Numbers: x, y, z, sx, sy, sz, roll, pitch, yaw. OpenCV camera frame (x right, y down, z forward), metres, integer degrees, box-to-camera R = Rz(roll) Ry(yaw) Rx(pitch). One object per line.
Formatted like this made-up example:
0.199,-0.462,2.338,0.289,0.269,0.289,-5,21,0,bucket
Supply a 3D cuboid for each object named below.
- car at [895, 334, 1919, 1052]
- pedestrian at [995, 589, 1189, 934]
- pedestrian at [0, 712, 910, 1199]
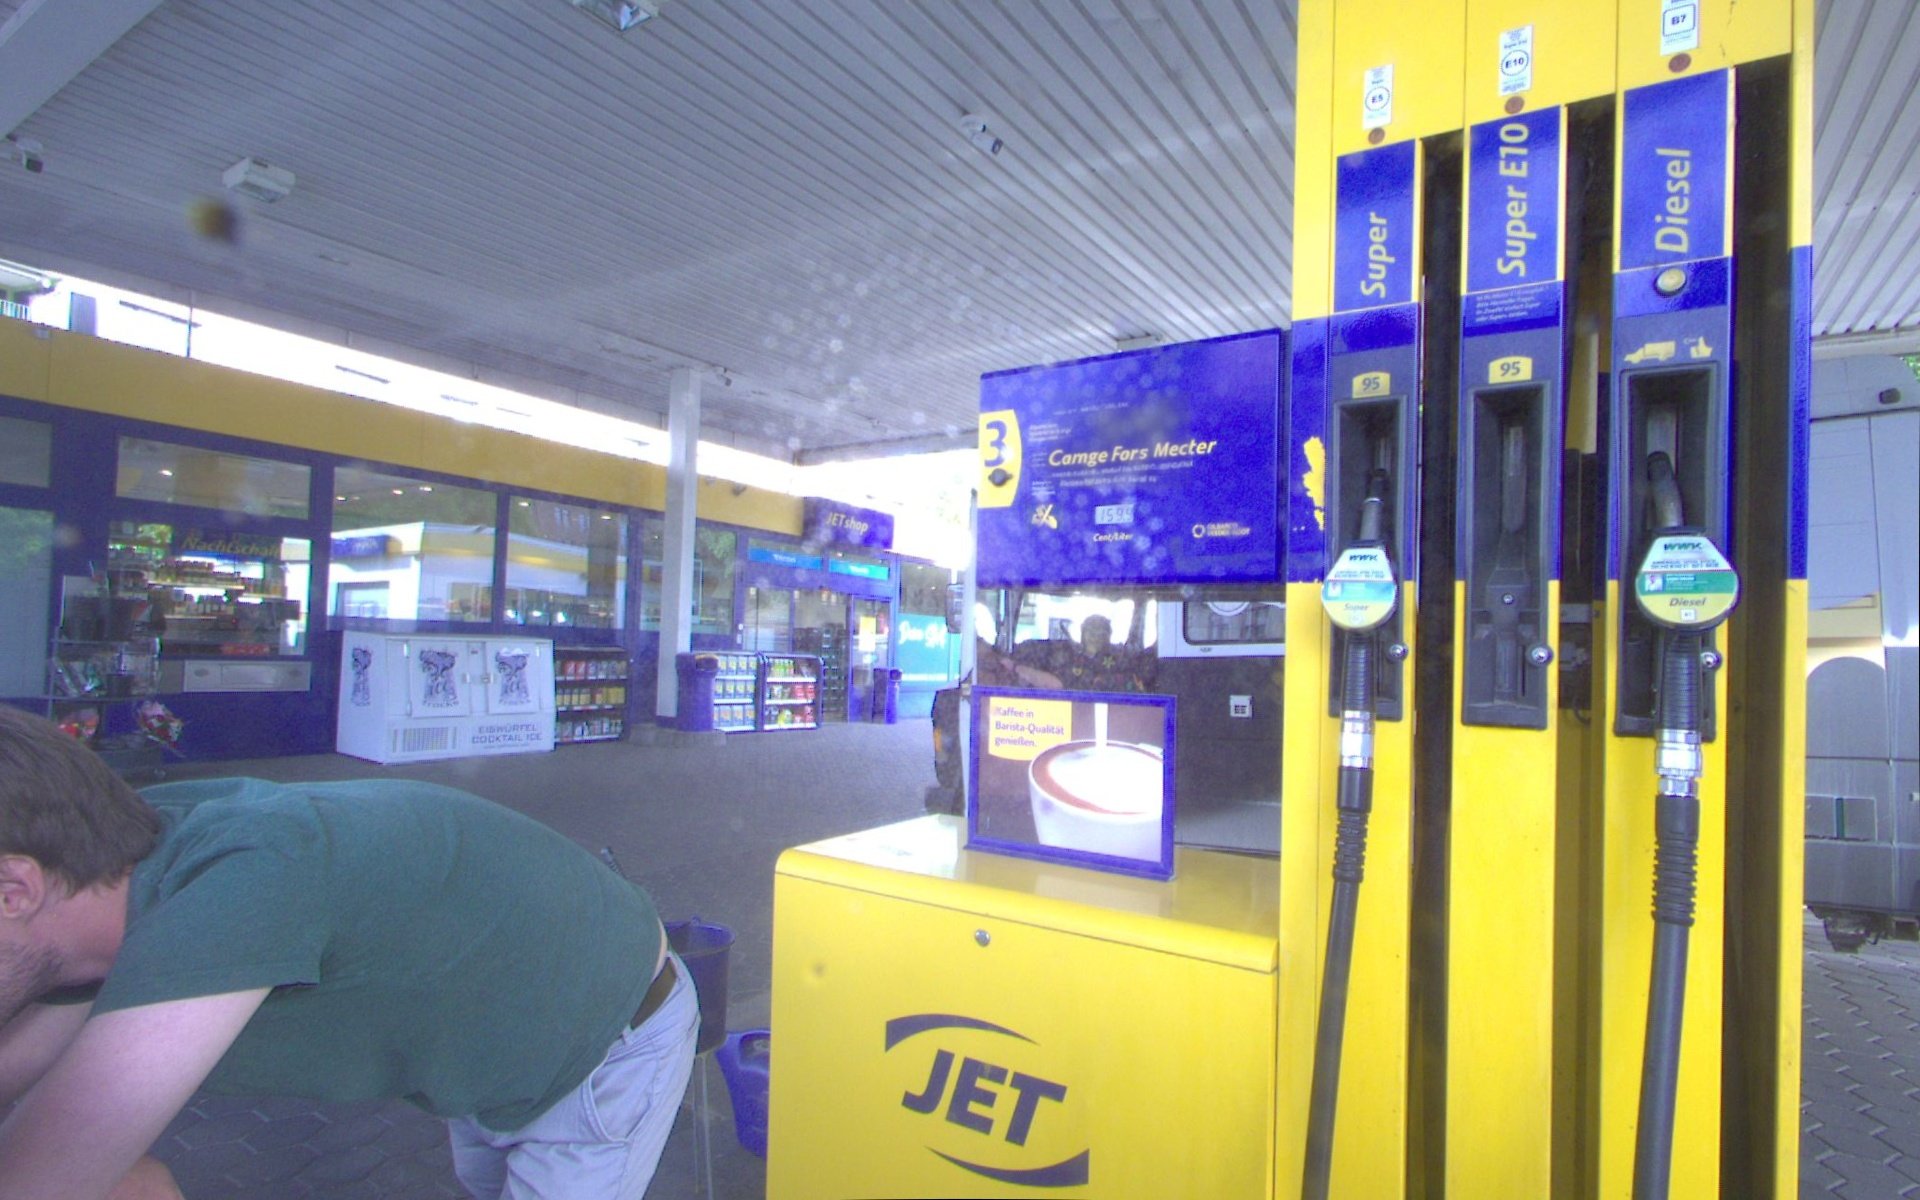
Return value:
2.389,0.411,6.017,5.219,2.724,2.250,0,-3,34,car
0.699,0.851,5.672,0.961,1.785,0.981,0,-1,0,pedestrian
-0.534,0.807,1.072,0.664,1.298,0.749,-1,-1,31,pedestrian
